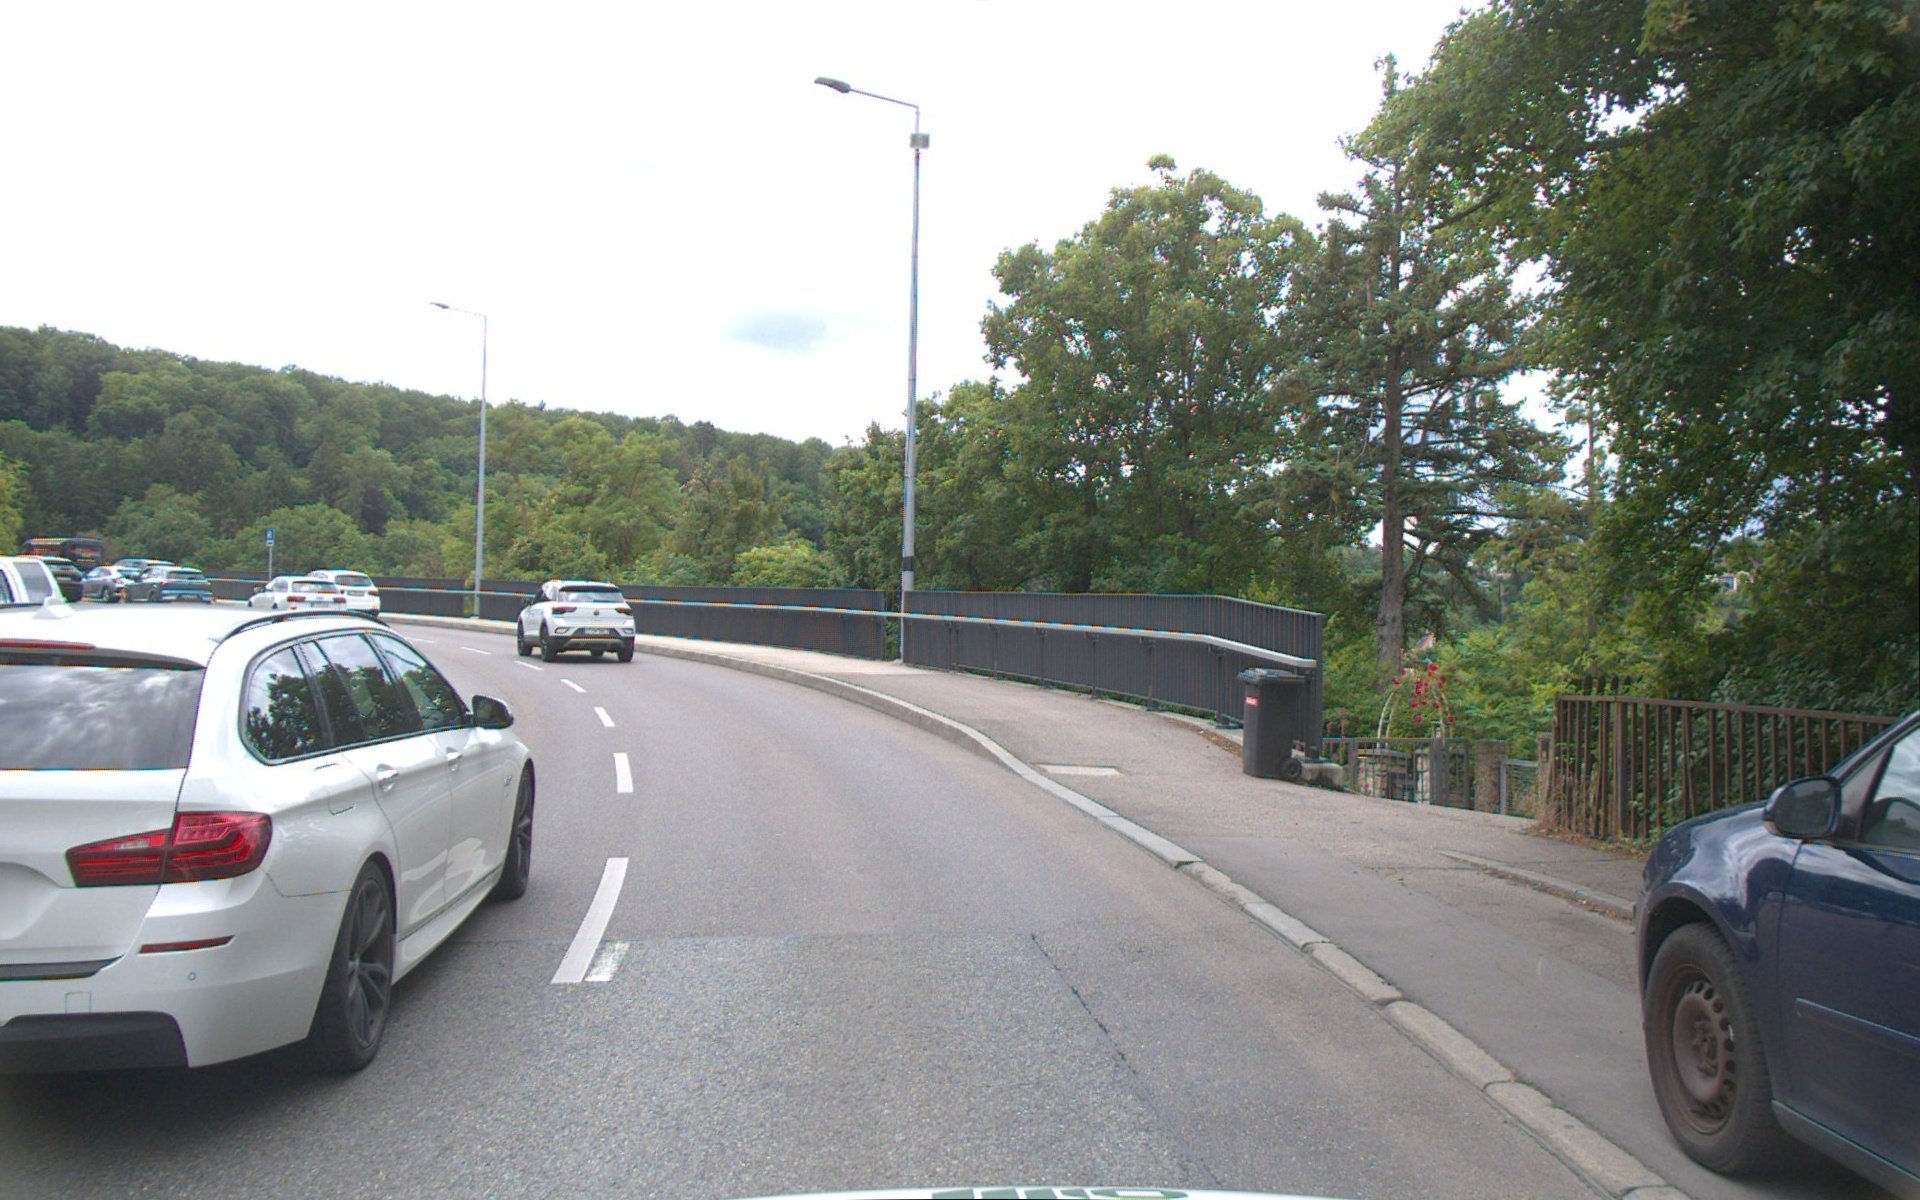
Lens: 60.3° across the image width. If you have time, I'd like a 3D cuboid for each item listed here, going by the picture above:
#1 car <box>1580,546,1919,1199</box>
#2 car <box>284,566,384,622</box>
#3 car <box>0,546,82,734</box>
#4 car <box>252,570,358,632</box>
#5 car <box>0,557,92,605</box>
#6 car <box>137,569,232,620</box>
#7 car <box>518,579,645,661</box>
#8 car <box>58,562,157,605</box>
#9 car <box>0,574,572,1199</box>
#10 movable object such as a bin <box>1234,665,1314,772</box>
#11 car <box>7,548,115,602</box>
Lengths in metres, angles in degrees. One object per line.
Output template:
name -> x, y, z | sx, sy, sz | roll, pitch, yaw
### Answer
car -> 2.775, 0.667, 2.998 | 1.626, 1.513, 4.033 | 1, 0, -3
car -> -20.123, -0.206, 53.066 | 1.978, 1.614, 3.949 | 2, 0, -36
car -> -10.500, 0.391, 16.471 | 1.878, 1.860, 5.287 | 0, 1, -14
car -> -18.562, 0.009, 46.789 | 1.891, 1.601, 3.951 | 2, 0, -35
car -> -35.748, -0.757, 64.130 | 3.912, 1.719, 1.818 | 3, 0, 29
car -> -26.334, -0.204, 56.103 | 1.981, 1.567, 3.953 | 2, 0, -39
car -> -7.728, 0.386, 33.506 | 1.842, 1.563, 3.776 | 1, 0, -24
car -> -33.955, -0.663, 65.878 | 3.455, 1.552, 1.698 | 3, 0, 25
car -> -2.832, 0.687, 6.396 | 1.812, 1.492, 4.874 | 2, 0, -5
movable object such as a bin -> 2.784, 1.048, 14.686 | 0.511, 0.896, 0.531 | 2, 0, -11
car -> -40.834, -1.123, 75.111 | 4.628, 2.231, 2.079 | 3, 0, 29
